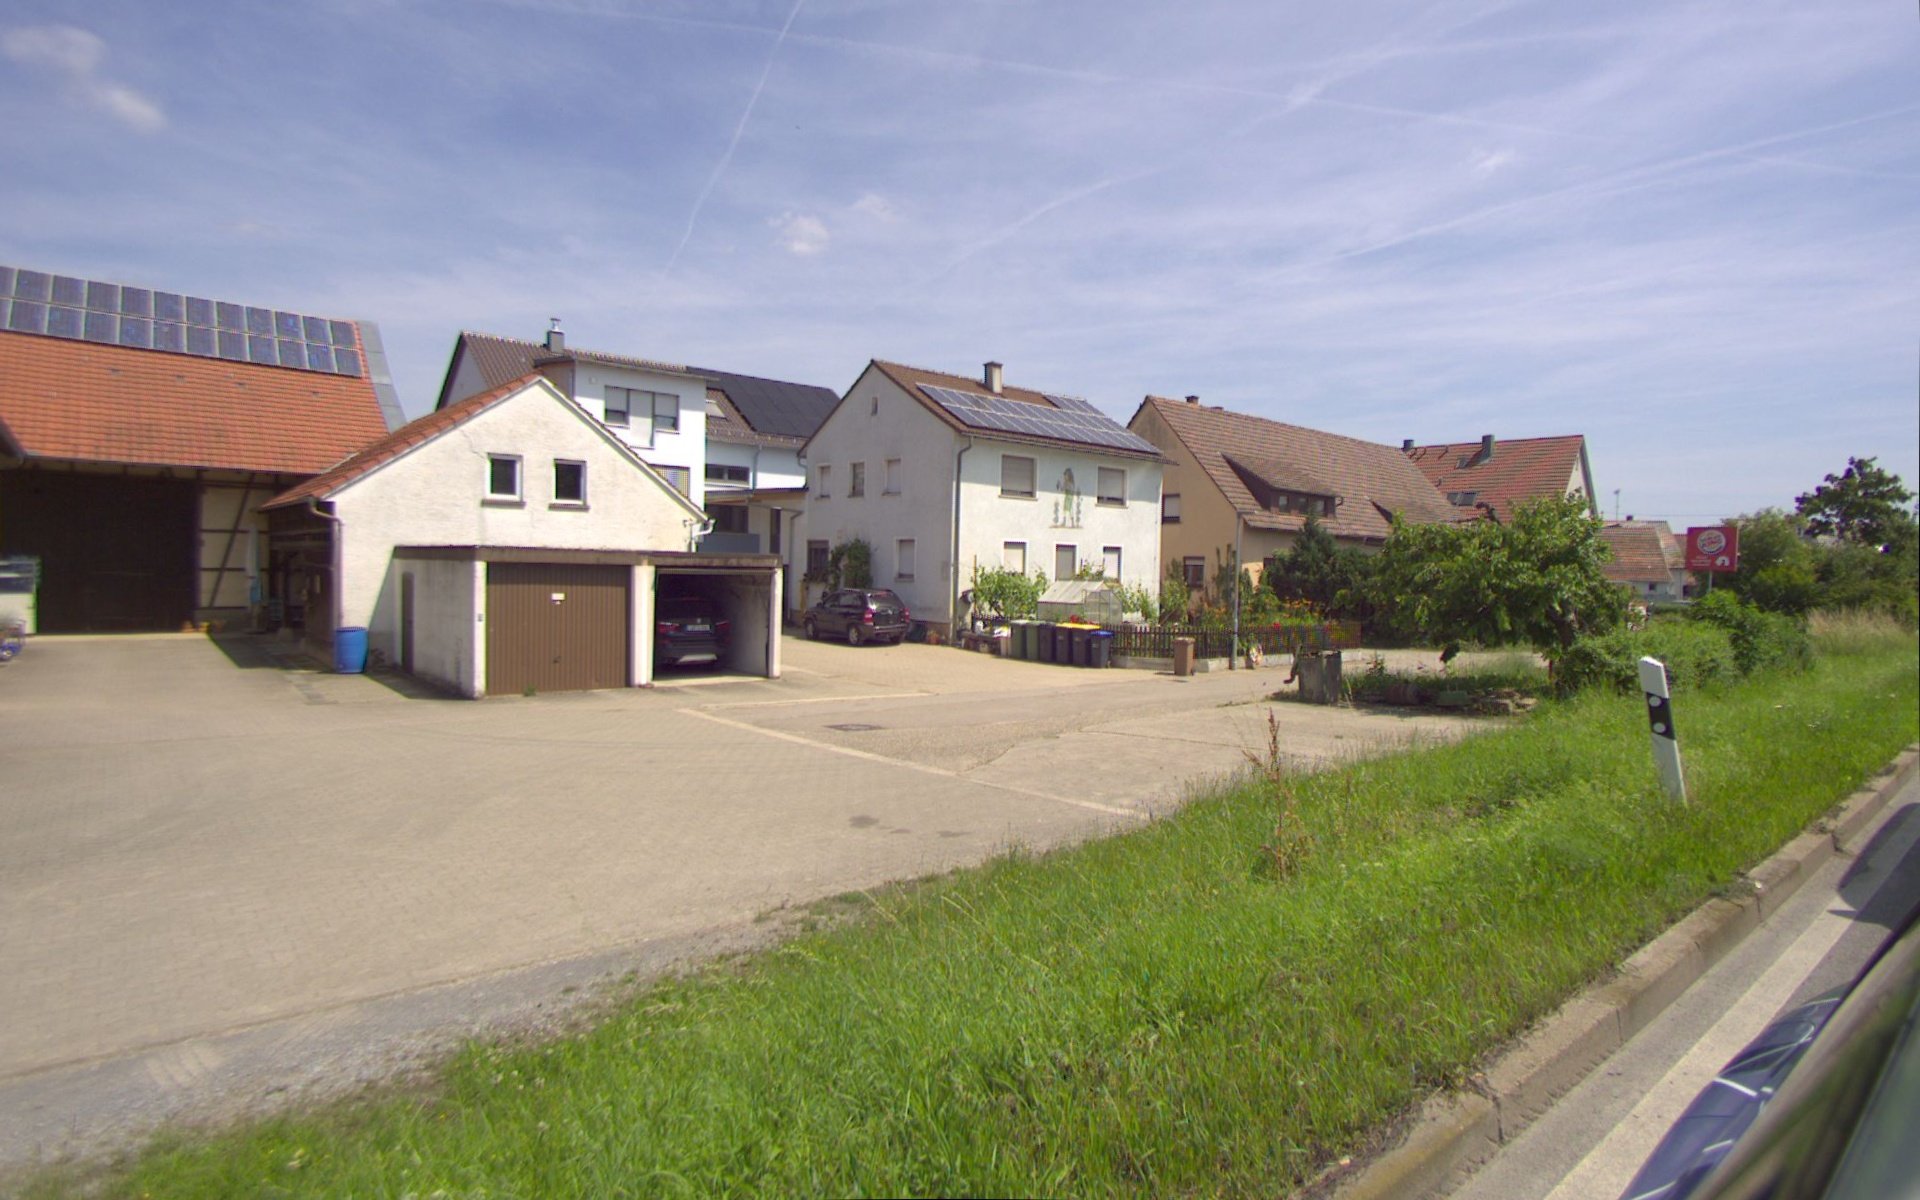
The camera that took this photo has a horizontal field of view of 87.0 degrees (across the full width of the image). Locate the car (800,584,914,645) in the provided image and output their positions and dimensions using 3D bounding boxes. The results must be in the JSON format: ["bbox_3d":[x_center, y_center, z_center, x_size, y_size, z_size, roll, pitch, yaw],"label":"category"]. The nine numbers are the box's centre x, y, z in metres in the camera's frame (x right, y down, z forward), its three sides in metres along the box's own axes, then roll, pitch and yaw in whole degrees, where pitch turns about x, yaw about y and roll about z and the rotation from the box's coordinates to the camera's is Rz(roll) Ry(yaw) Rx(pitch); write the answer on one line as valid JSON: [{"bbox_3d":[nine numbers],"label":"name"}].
[{"bbox_3d":[-3.334,0.391,32.203,1.810,1.714,3.959,-1,3,-38],"label":"car"}]

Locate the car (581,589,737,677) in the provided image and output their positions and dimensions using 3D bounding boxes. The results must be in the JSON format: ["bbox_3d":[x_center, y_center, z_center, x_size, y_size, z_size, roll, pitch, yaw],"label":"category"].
[{"bbox_3d":[-6.544,0.613,21.770,1.802,1.597,3.996,-1,2,-40],"label":"car"}]

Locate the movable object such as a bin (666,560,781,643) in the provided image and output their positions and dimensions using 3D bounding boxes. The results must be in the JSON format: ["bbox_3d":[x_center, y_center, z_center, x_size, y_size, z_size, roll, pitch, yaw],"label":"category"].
[{"bbox_3d":[-7.315,0.002,31.047,2.041,2.372,3.720,2,1,-37],"label":"movable object such as a bin"}]
